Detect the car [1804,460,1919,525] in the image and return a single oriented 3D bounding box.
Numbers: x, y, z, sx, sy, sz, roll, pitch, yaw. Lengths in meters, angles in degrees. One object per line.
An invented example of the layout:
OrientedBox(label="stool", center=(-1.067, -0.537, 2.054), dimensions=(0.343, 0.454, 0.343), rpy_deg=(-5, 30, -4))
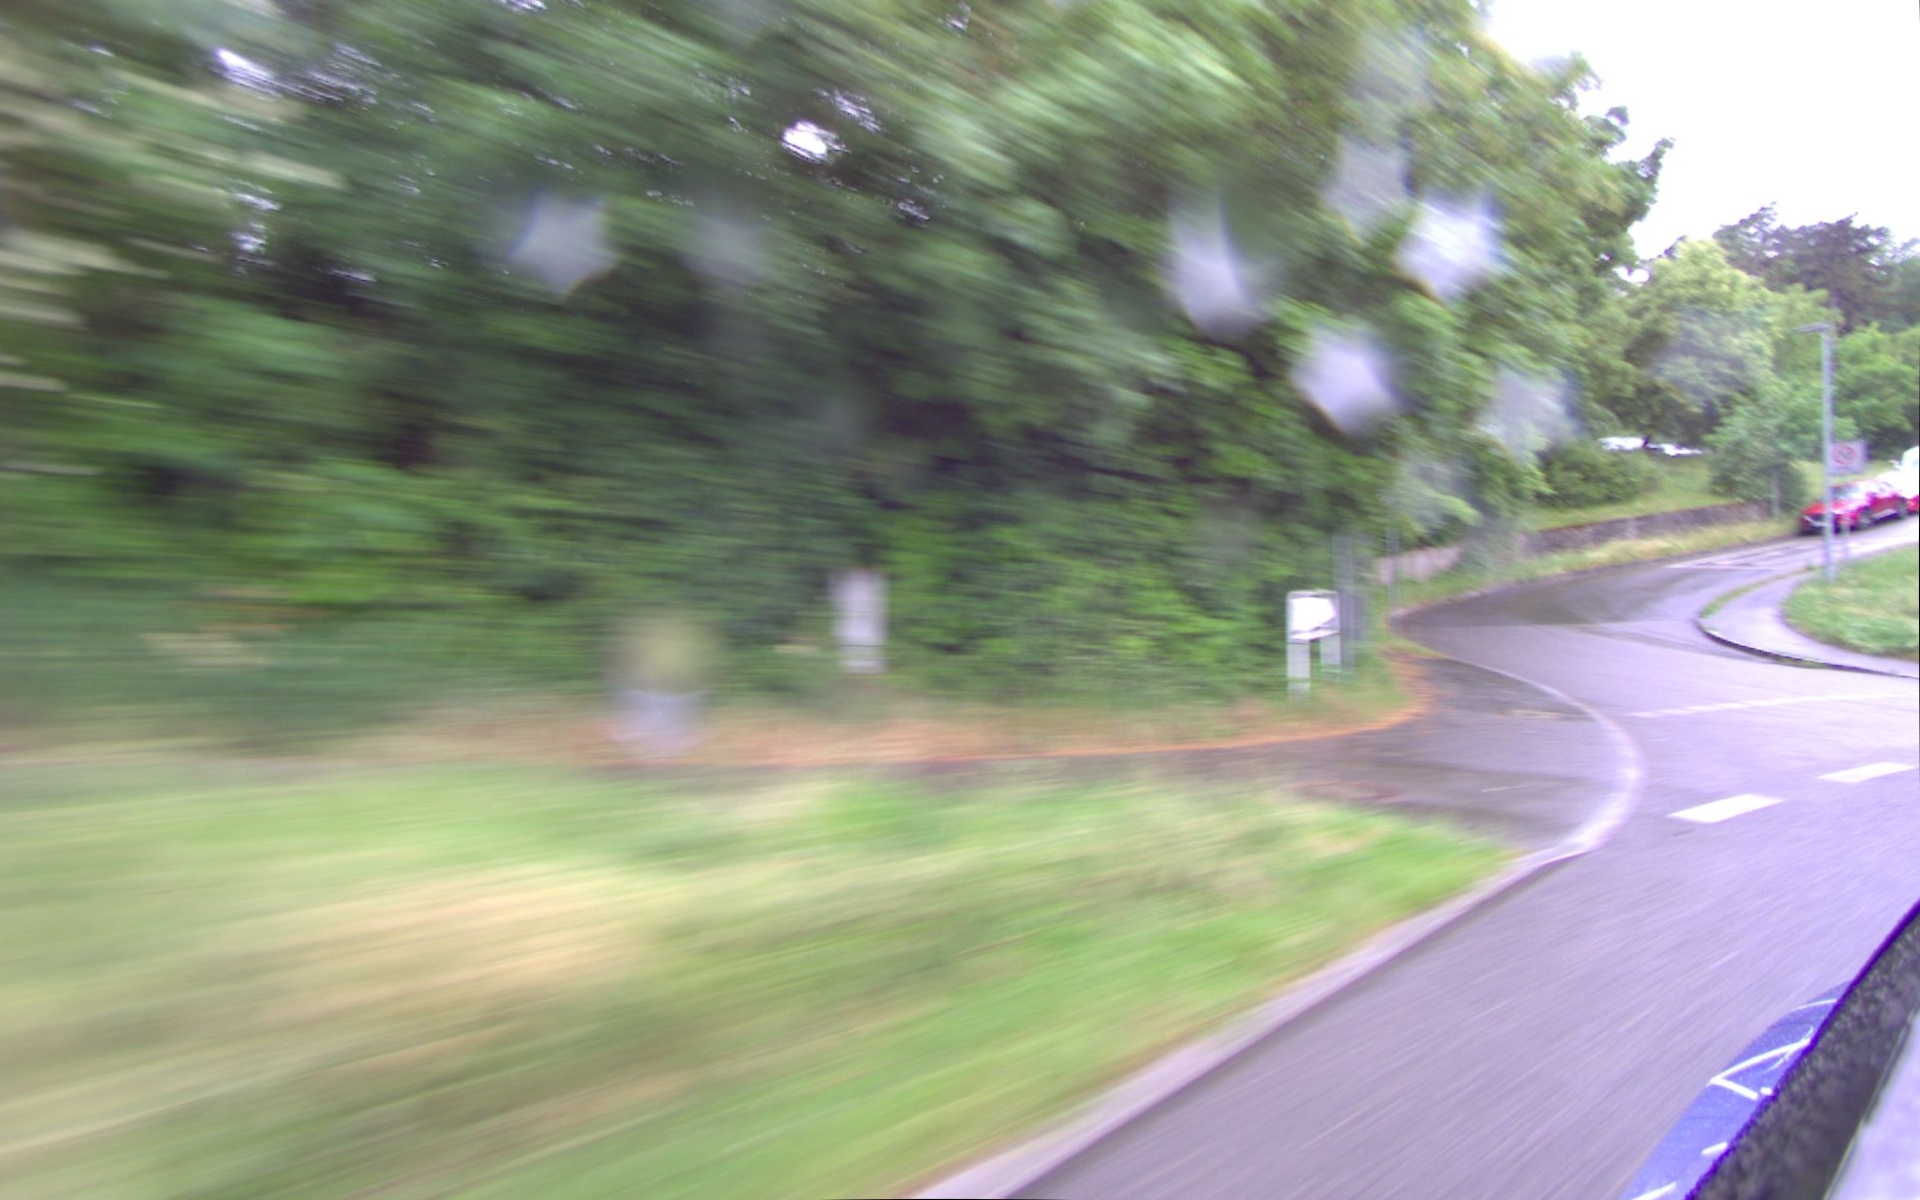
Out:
OrientedBox(label="car", center=(30.903, -3.668, 34.471), dimensions=(3.928, 1.525, 1.879), rpy_deg=(-12, 6, -27))

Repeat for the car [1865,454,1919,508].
OrientedBox(label="car", center=(34.601, -4.381, 36.507), dimensions=(3.932, 1.418, 1.877), rpy_deg=(-13, 7, -32))

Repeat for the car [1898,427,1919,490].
OrientedBox(label="car", center=(38.899, -5.747, 39.812), dimensions=(5.372, 1.965, 2.268), rpy_deg=(-15, 8, -40))
